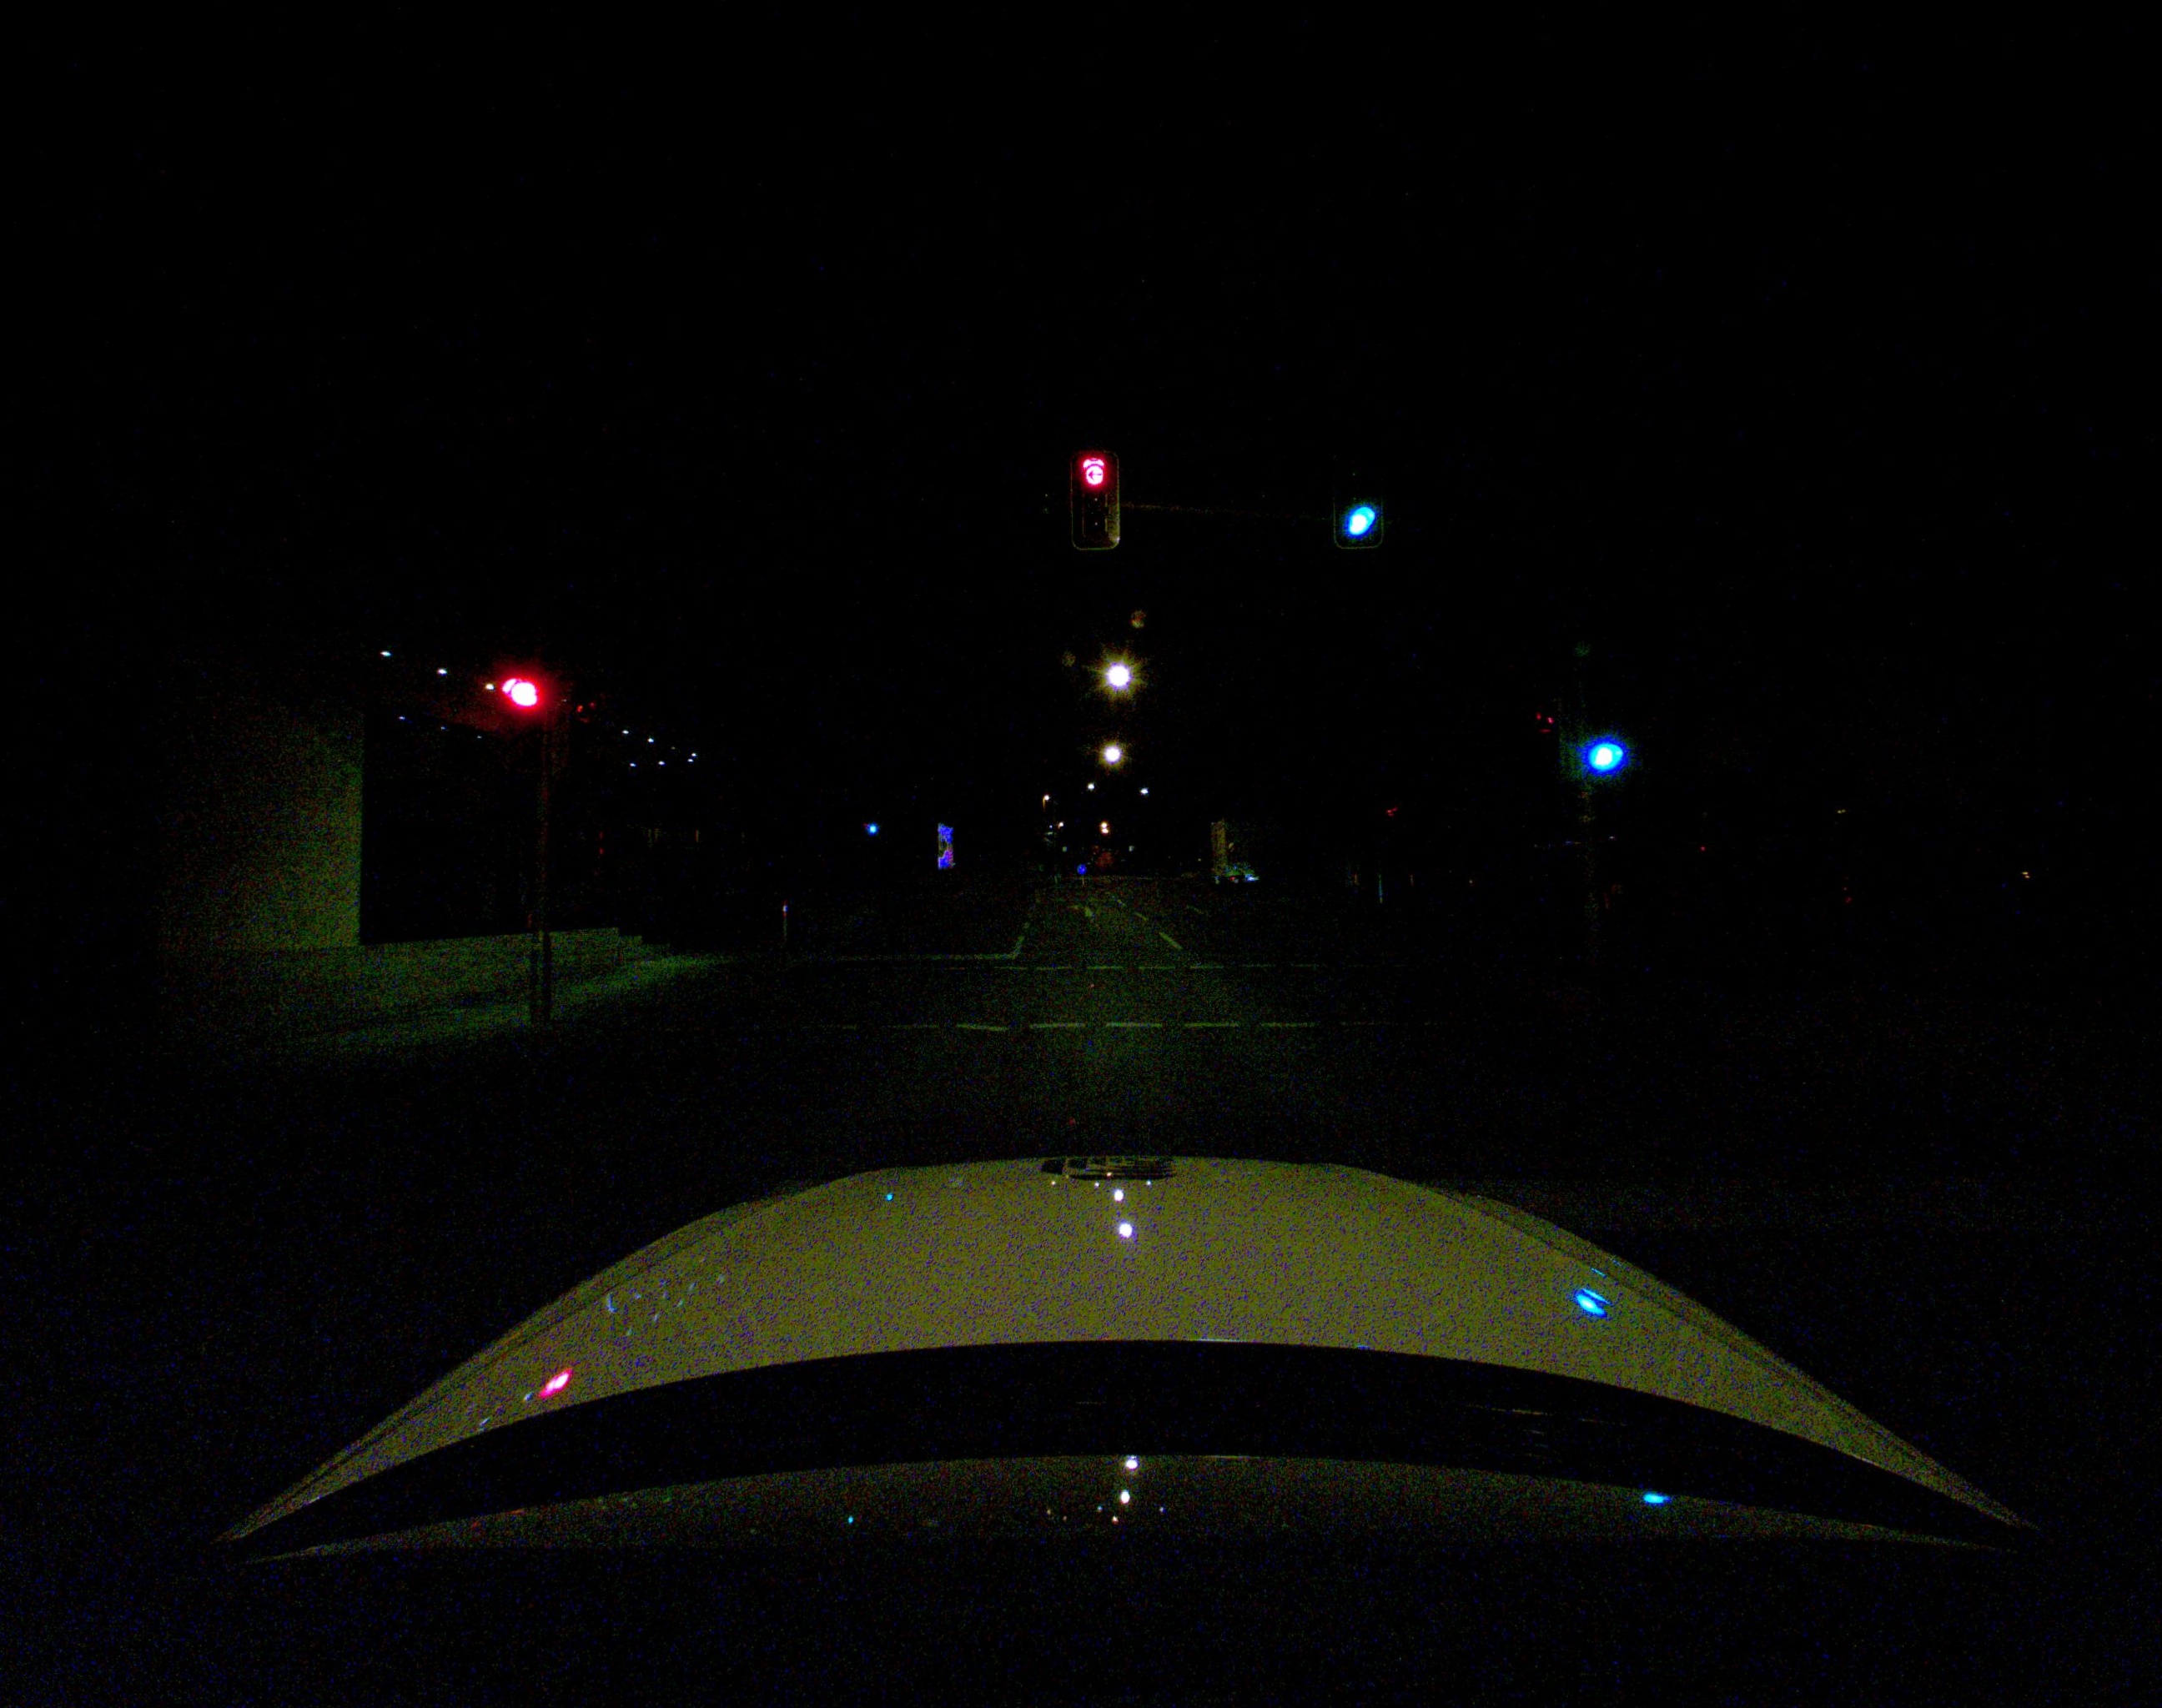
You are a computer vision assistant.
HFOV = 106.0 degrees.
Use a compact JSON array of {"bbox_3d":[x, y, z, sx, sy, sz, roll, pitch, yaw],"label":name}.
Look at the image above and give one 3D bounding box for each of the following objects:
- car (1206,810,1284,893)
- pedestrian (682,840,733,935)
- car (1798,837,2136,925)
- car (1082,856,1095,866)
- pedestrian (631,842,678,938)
[{"bbox_3d":[6.764,-0.084,34.253,2.287,3.093,5.845,-2,-1,3],"label":"car"},{"bbox_3d":[-7.197,0.628,15.705,0.568,1.778,0.737,1,-1,1],"label":"pedestrian"},{"bbox_3d":[17.454,0.566,16.285,4.342,1.560,1.807,-2,-3,8],"label":"car"},{"bbox_3d":[1.257,1.170,134.595,1.901,1.557,3.906,0,-1,2],"label":"car"},{"bbox_3d":[-7.800,0.646,14.911,0.568,1.731,0.544,0,-1,1],"label":"pedestrian"}]
